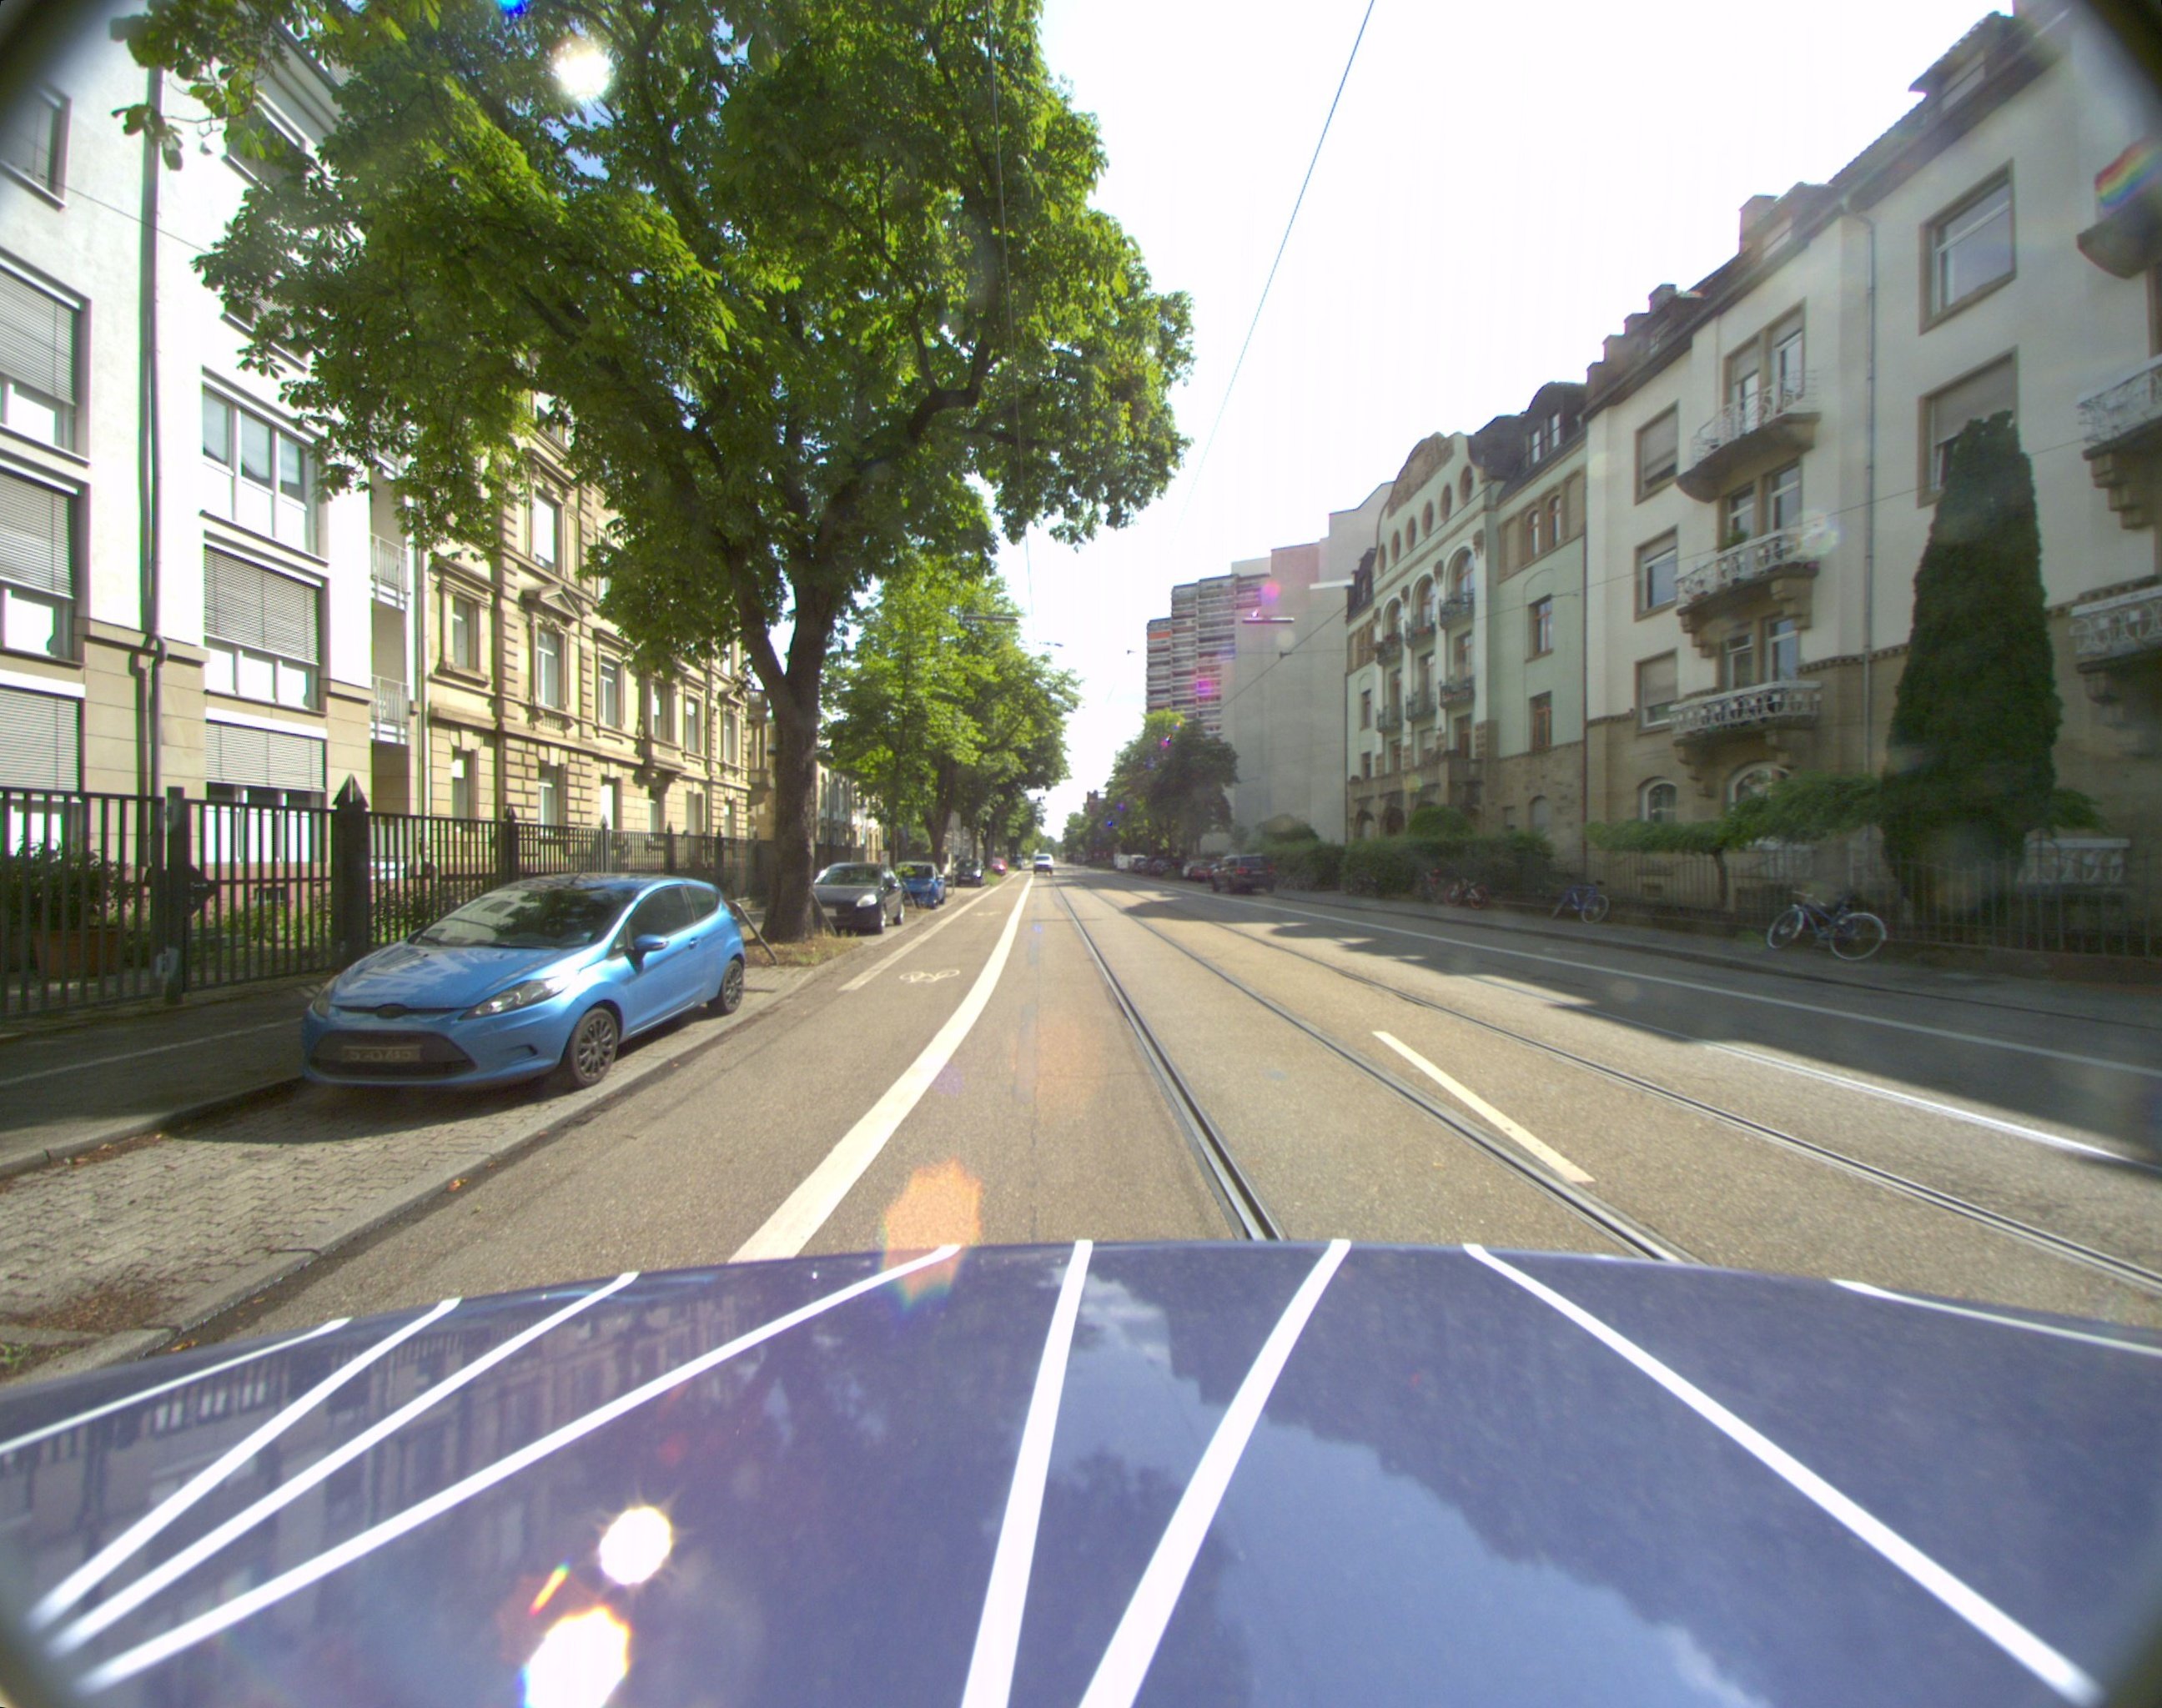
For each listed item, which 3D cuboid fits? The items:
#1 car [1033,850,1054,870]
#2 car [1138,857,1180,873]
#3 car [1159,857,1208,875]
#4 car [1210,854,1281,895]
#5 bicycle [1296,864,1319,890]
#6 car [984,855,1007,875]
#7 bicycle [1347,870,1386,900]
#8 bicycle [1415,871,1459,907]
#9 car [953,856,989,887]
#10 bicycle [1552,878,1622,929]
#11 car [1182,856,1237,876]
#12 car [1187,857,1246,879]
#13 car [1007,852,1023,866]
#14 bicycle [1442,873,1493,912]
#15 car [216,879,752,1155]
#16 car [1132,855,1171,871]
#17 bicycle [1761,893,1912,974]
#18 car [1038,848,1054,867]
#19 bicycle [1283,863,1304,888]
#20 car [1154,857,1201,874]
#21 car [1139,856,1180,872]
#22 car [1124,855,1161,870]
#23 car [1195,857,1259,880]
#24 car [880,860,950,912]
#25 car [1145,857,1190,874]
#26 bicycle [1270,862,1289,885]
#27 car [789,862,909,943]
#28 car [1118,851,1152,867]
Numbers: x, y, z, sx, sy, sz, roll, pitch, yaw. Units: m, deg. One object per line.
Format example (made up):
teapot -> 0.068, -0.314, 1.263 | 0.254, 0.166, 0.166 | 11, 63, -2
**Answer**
car -> -3.659, 0.615, 75.449 | 1.974, 1.901, 4.817 | 0, 0, -2
car -> 7.470, 0.999, 72.497 | 3.994, 1.499, 2.001 | 0, 0, 8
car -> 8.476, 0.973, 63.013 | 3.994, 1.499, 2.001 | 0, 0, 8
car -> 7.241, 0.855, 33.944 | 1.922, 1.685, 4.400 | 0, 0, -5
bicycle -> 10.144, 1.021, 34.084 | 0.468, 1.128, 1.787 | 0, 0, -1
car -> -7.451, 0.919, 66.378 | 1.744, 1.564, 3.928 | 3, 0, -4
bicycle -> 10.100, 1.067, 26.974 | 0.605, 0.990, 1.981 | 0, 0, -1
bicycle -> 10.690, 1.033, 22.887 | 0.468, 0.990, 1.787 | 0, 0, -1
car -> -6.246, 0.970, 43.423 | 1.744, 1.564, 3.659 | 3, 0, -4
bicycle -> 10.946, 1.050, 16.504 | 0.467, 0.990, 1.787 | 0, 0, 5
car -> 9.621, 0.871, 56.966 | 3.994, 1.499, 2.001 | 0, 0, 8
car -> 9.487, 0.953, 53.417 | 3.994, 1.499, 2.001 | 0, 0, 8
car -> -7.877, 0.560, 91.053 | 1.744, 1.564, 3.928 | 3, 0, -4
bicycle -> 10.653, 1.039, 20.989 | 0.468, 0.990, 1.787 | 0, 0, -1
car -> -4.320, 1.037, 6.334 | 1.647, 1.467, 3.660 | 3, 0, -3
car -> 7.378, 0.916, 79.131 | 3.994, 1.672, 2.001 | 0, 0, 8
bicycle -> 11.095, 1.123, 11.260 | 0.467, 0.990, 1.979 | 0, 0, 7
car -> -4.963, 0.453, 107.331 | 2.146, 2.568, 4.817 | 0, 0, -2
bicycle -> 10.061, 1.001, 36.026 | 0.468, 1.128, 1.787 | 0, 0, -1
car -> 8.377, 0.986, 66.169 | 3.994, 1.499, 2.001 | 0, 0, 8
car -> 7.797, 0.997, 75.658 | 3.994, 1.499, 2.001 | 0, 0, 8
car -> 6.794, 0.898, 83.557 | 3.994, 1.672, 2.001 | 0, 0, 8
car -> 9.523, 0.944, 49.909 | 3.994, 1.499, 2.001 | 0, 0, 8
car -> -5.334, 0.996, 24.847 | 1.679, 1.467, 3.659 | 3, 0, -4
car -> 7.877, 1.024, 69.288 | 3.994, 1.499, 2.001 | 0, 0, 8
bicycle -> 9.960, 0.956, 38.123 | 0.468, 1.128, 1.787 | 0, 0, -1
car -> -4.921, 0.976, 16.633 | 1.679, 1.467, 3.659 | 3, 0, -4
car -> 6.372, 0.559, 89.391 | 1.994, 1.740, 4.008 | -1, 1, 41
